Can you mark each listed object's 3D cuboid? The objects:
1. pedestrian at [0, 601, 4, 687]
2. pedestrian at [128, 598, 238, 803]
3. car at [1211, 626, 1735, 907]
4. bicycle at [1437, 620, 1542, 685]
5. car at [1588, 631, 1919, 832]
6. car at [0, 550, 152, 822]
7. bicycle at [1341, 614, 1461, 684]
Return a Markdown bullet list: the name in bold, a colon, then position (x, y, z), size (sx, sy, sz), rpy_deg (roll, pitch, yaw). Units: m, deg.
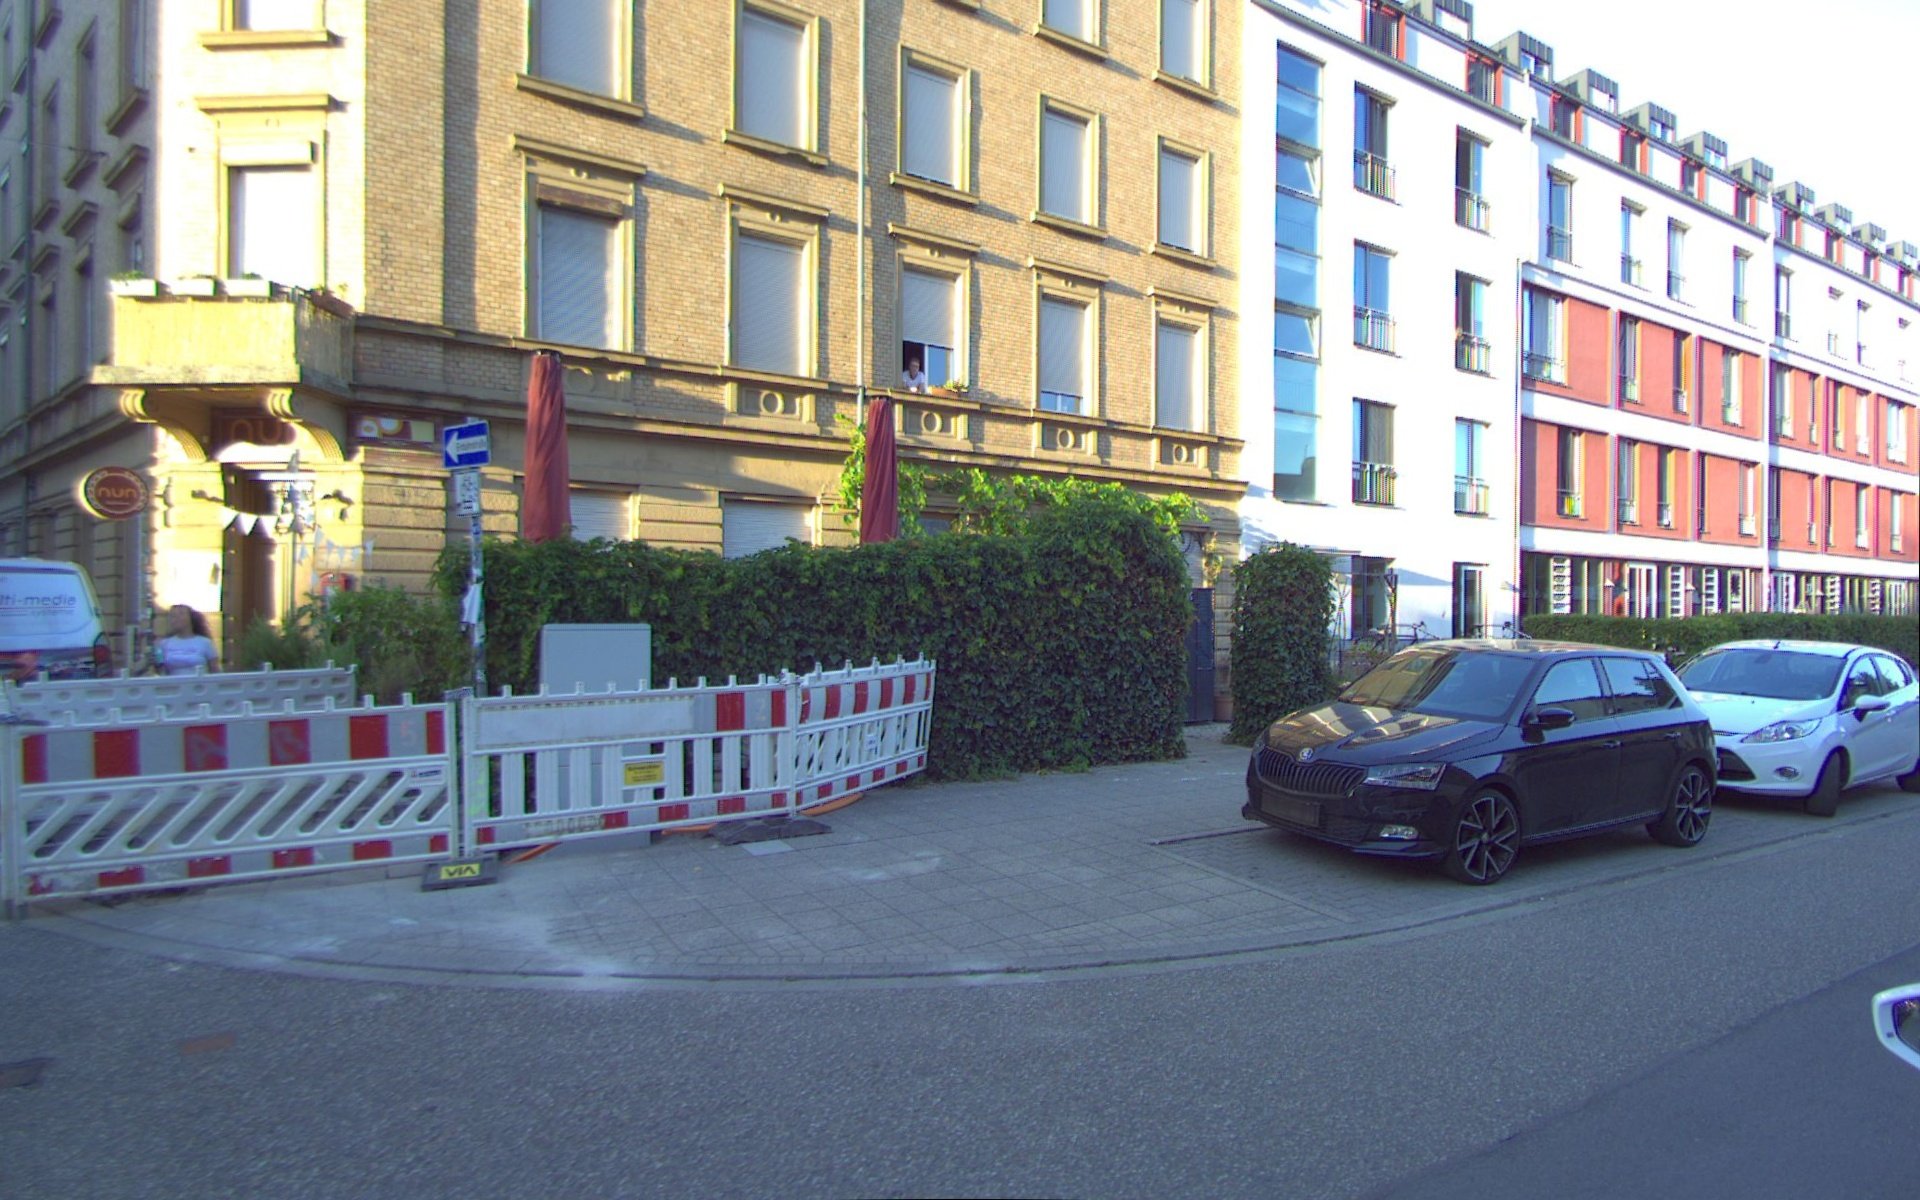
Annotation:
- **pedestrian**: position (-19.437, 0.874, 19.946), size (0.490, 1.709, 0.592), rpy_deg (2, 1, 37)
- **pedestrian**: position (-6.646, 0.814, 8.621), size (0.705, 1.640, 0.778), rpy_deg (1, 1, -37)
- **car**: position (3.850, 0.997, 7.413), size (3.800, 1.554, 1.695), rpy_deg (1, 0, -31)
- **bicycle**: position (10.348, 1.004, 19.700), size (0.603, 1.163, 1.768), rpy_deg (1, 1, -27)
- **car**: position (7.979, 1.106, 9.816), size (3.975, 1.550, 1.641), rpy_deg (1, 0, -34)
- **car**: position (-9.272, 0.644, 8.801), size (5.209, 2.001, 2.200), rpy_deg (0, -1, 37)
- **bicycle**: position (8.069, 0.873, 18.468), size (0.802, 1.157, 1.907), rpy_deg (1, 1, -29)
